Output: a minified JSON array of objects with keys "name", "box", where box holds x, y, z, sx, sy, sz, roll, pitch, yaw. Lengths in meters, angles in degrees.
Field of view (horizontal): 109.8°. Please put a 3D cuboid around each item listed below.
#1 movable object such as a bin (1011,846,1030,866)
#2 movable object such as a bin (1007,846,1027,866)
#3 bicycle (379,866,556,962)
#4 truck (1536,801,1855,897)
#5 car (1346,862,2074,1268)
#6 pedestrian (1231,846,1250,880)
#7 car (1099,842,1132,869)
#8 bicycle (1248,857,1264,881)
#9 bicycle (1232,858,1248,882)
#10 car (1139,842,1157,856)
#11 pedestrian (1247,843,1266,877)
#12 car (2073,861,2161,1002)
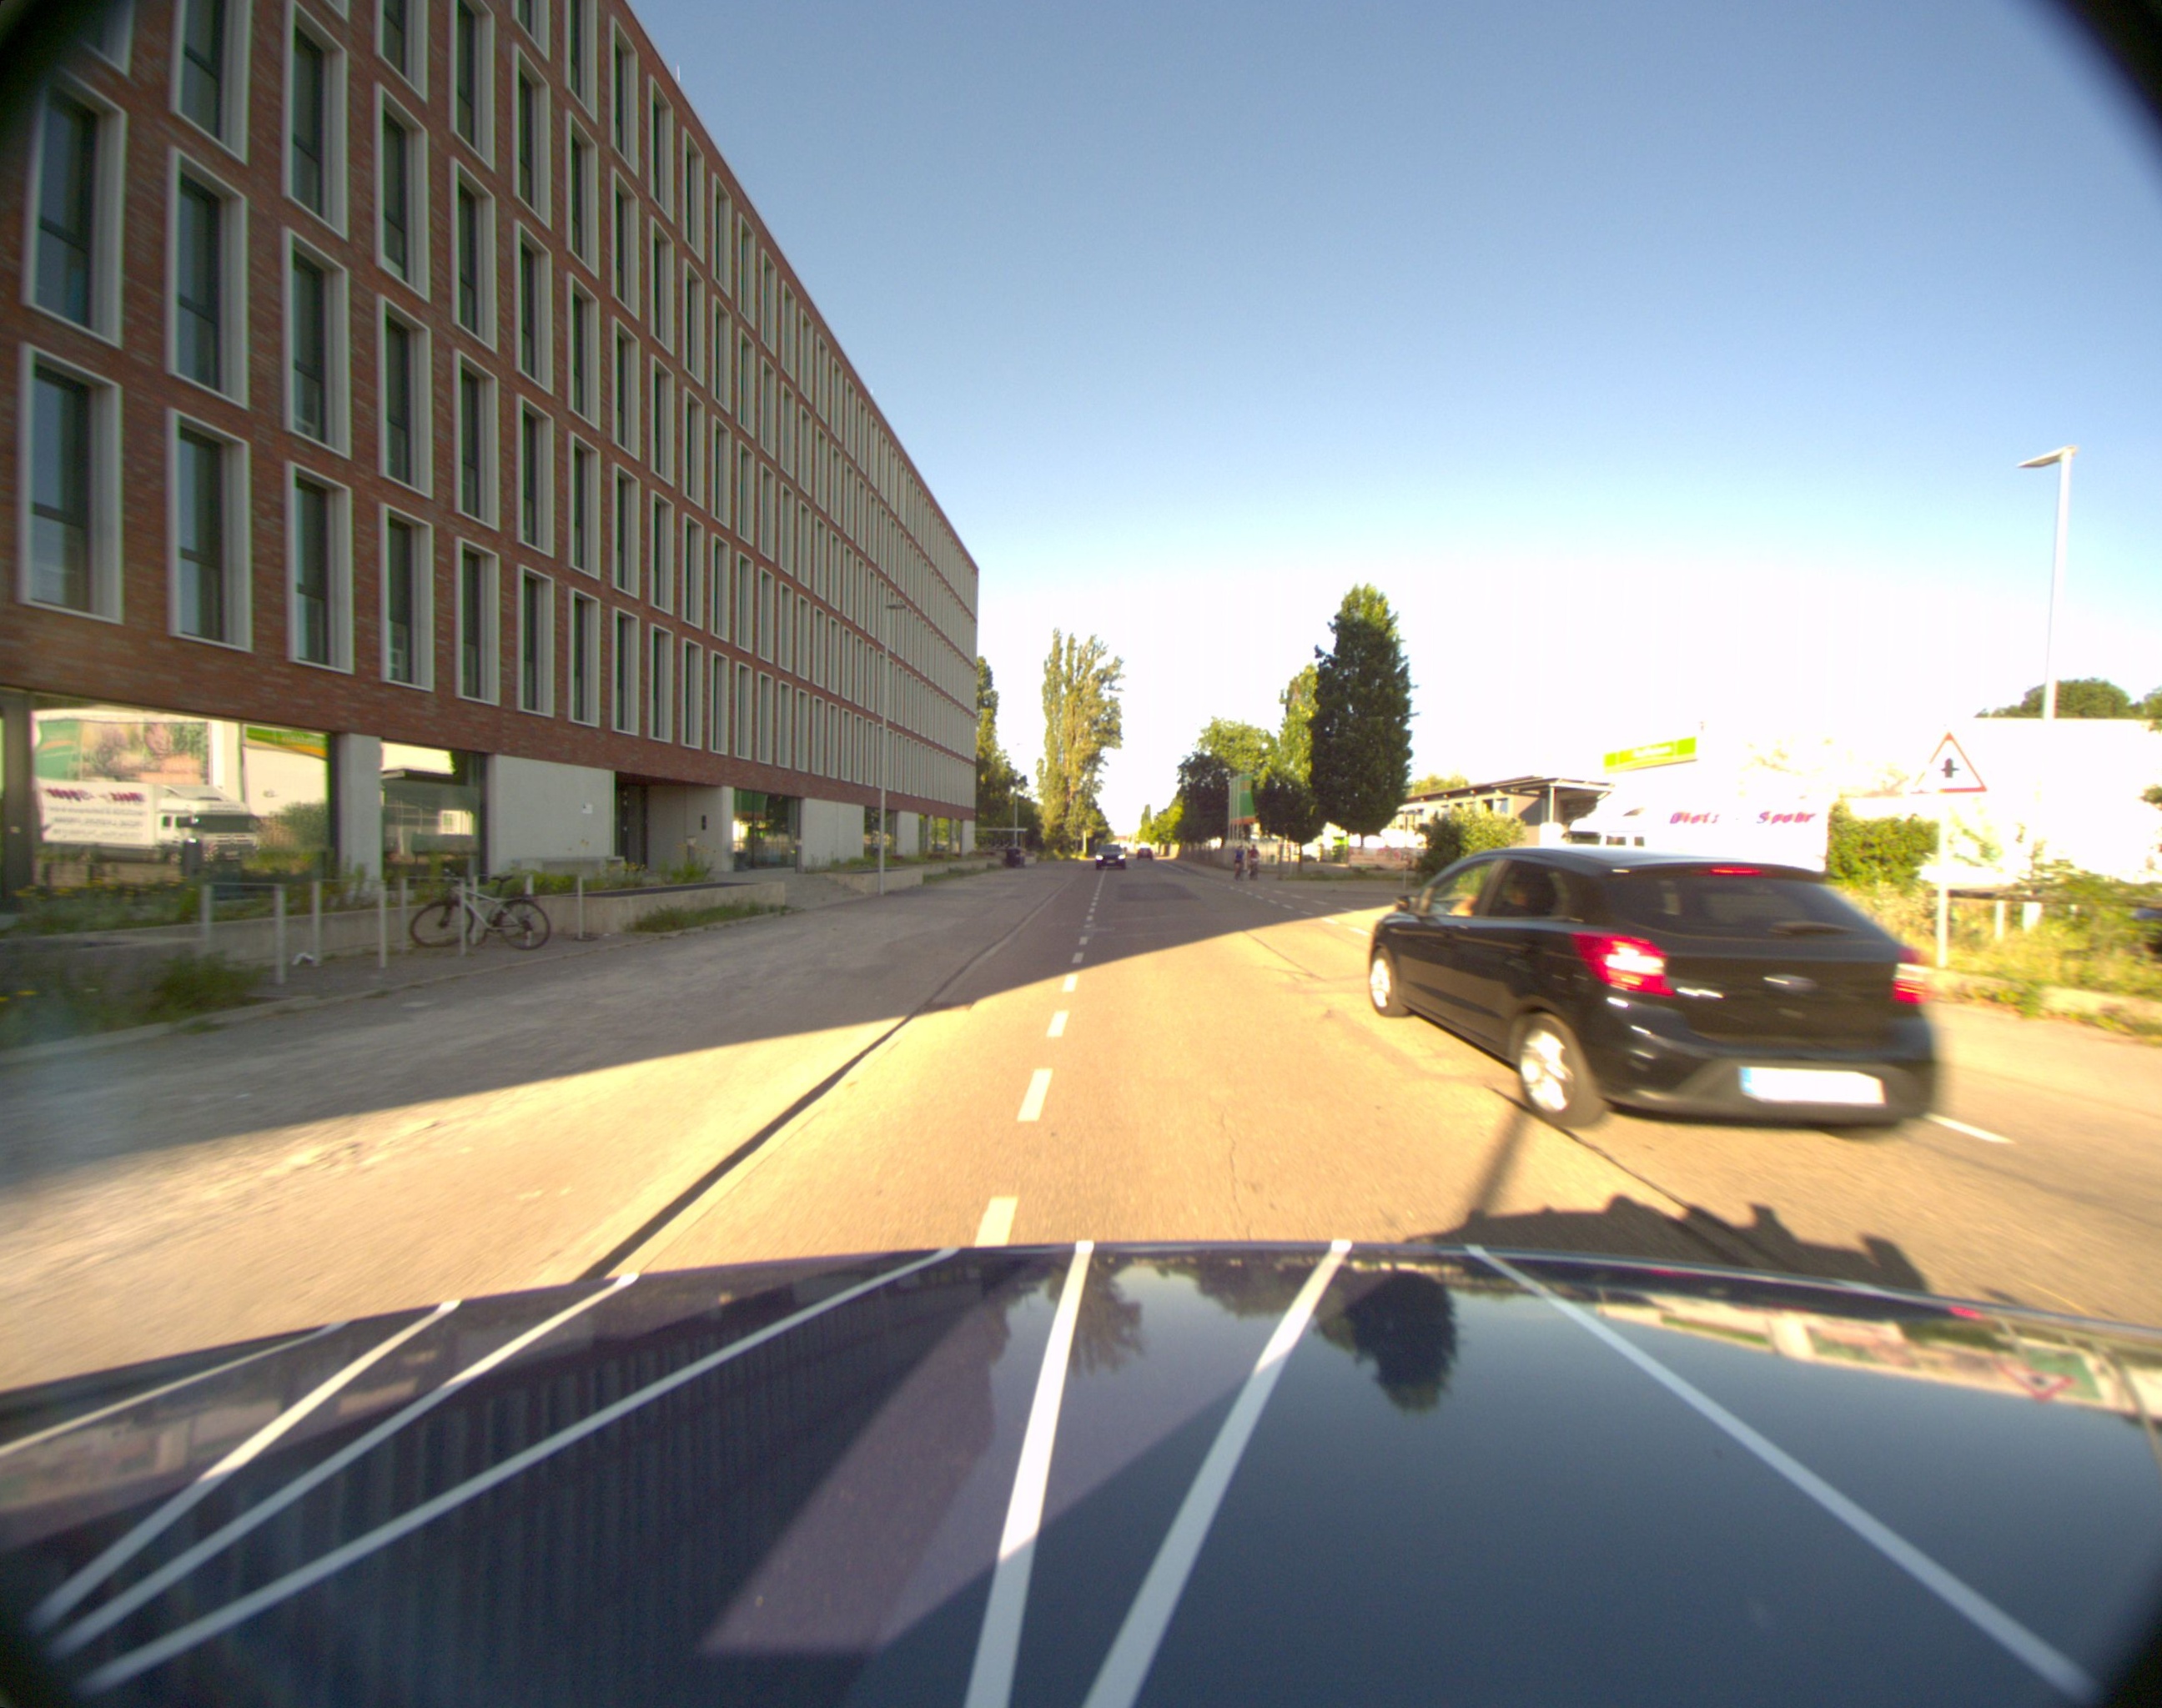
[{"name":"movable object such as a bin","box":[-4.134,0.115,52.140,1.131,1.364,1.345,1,1,2]},{"name":"movable object such as a bin","box":[-4.272,0.131,50.695,1.131,1.328,1.345,1,1,2]},{"name":"bicycle","box":[-8.026,0.781,9.977,1.937,1.163,0.375,2,1,-3]},{"name":"truck","box":[24.009,-0.228,30.106,10.122,3.594,2.775,0,2,2]},{"name":"car","box":[3.269,0.889,5.139,1.658,1.495,4.000,2,1,2]},{"name":"pedestrian","box":[8.177,0.460,38.961,0.722,1.711,1.057,1,1,3]},{"name":"car","box":[2.340,0.084,50.530,1.998,1.609,4.001,-2,1,4]},{"name":"bicycle","box":[9.020,0.754,39.119,0.471,1.142,1.869,-1,1,3]},{"name":"bicycle","box":[8.115,0.782,38.914,0.447,1.142,2.201,-1,1,3]},{"name":"car","box":[7.693,-0.588,87.691,1.745,1.517,4.111,4,1,2]},{"name":"pedestrian","box":[9.039,0.283,39.099,0.722,1.711,1.057,1,1,3]},{"name":"car","box":[14.382,0.905,8.178,4.438,1.571,2.049,1,1,4]}]
